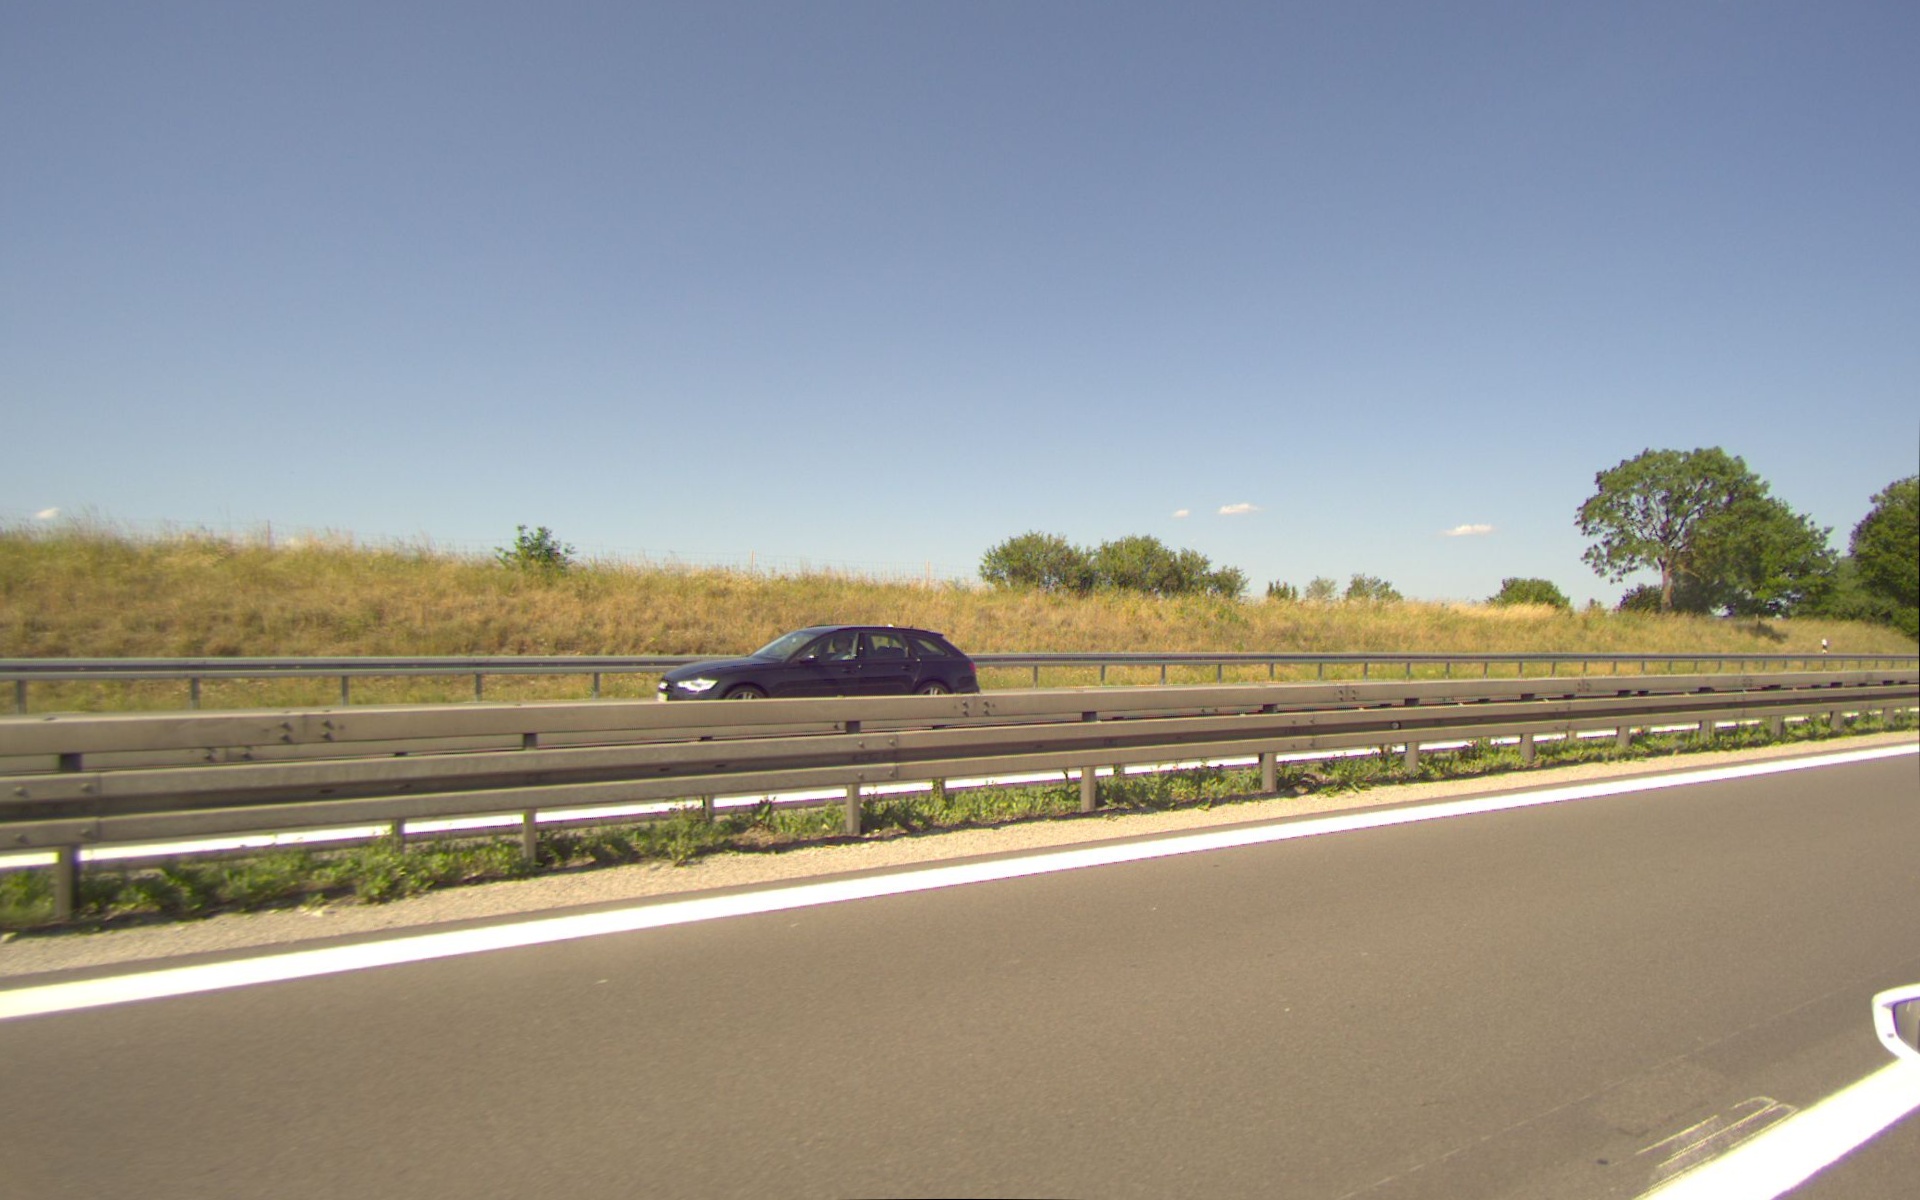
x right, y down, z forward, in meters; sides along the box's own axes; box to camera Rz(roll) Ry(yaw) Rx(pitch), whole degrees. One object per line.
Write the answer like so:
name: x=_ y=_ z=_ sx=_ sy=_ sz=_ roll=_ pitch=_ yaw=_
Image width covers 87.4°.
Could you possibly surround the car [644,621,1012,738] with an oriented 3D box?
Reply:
car: x=-1.859 y=1.090 z=14.926 sx=5.180 sy=1.487 sz=1.716 roll=2 pitch=-1 yaw=-30
